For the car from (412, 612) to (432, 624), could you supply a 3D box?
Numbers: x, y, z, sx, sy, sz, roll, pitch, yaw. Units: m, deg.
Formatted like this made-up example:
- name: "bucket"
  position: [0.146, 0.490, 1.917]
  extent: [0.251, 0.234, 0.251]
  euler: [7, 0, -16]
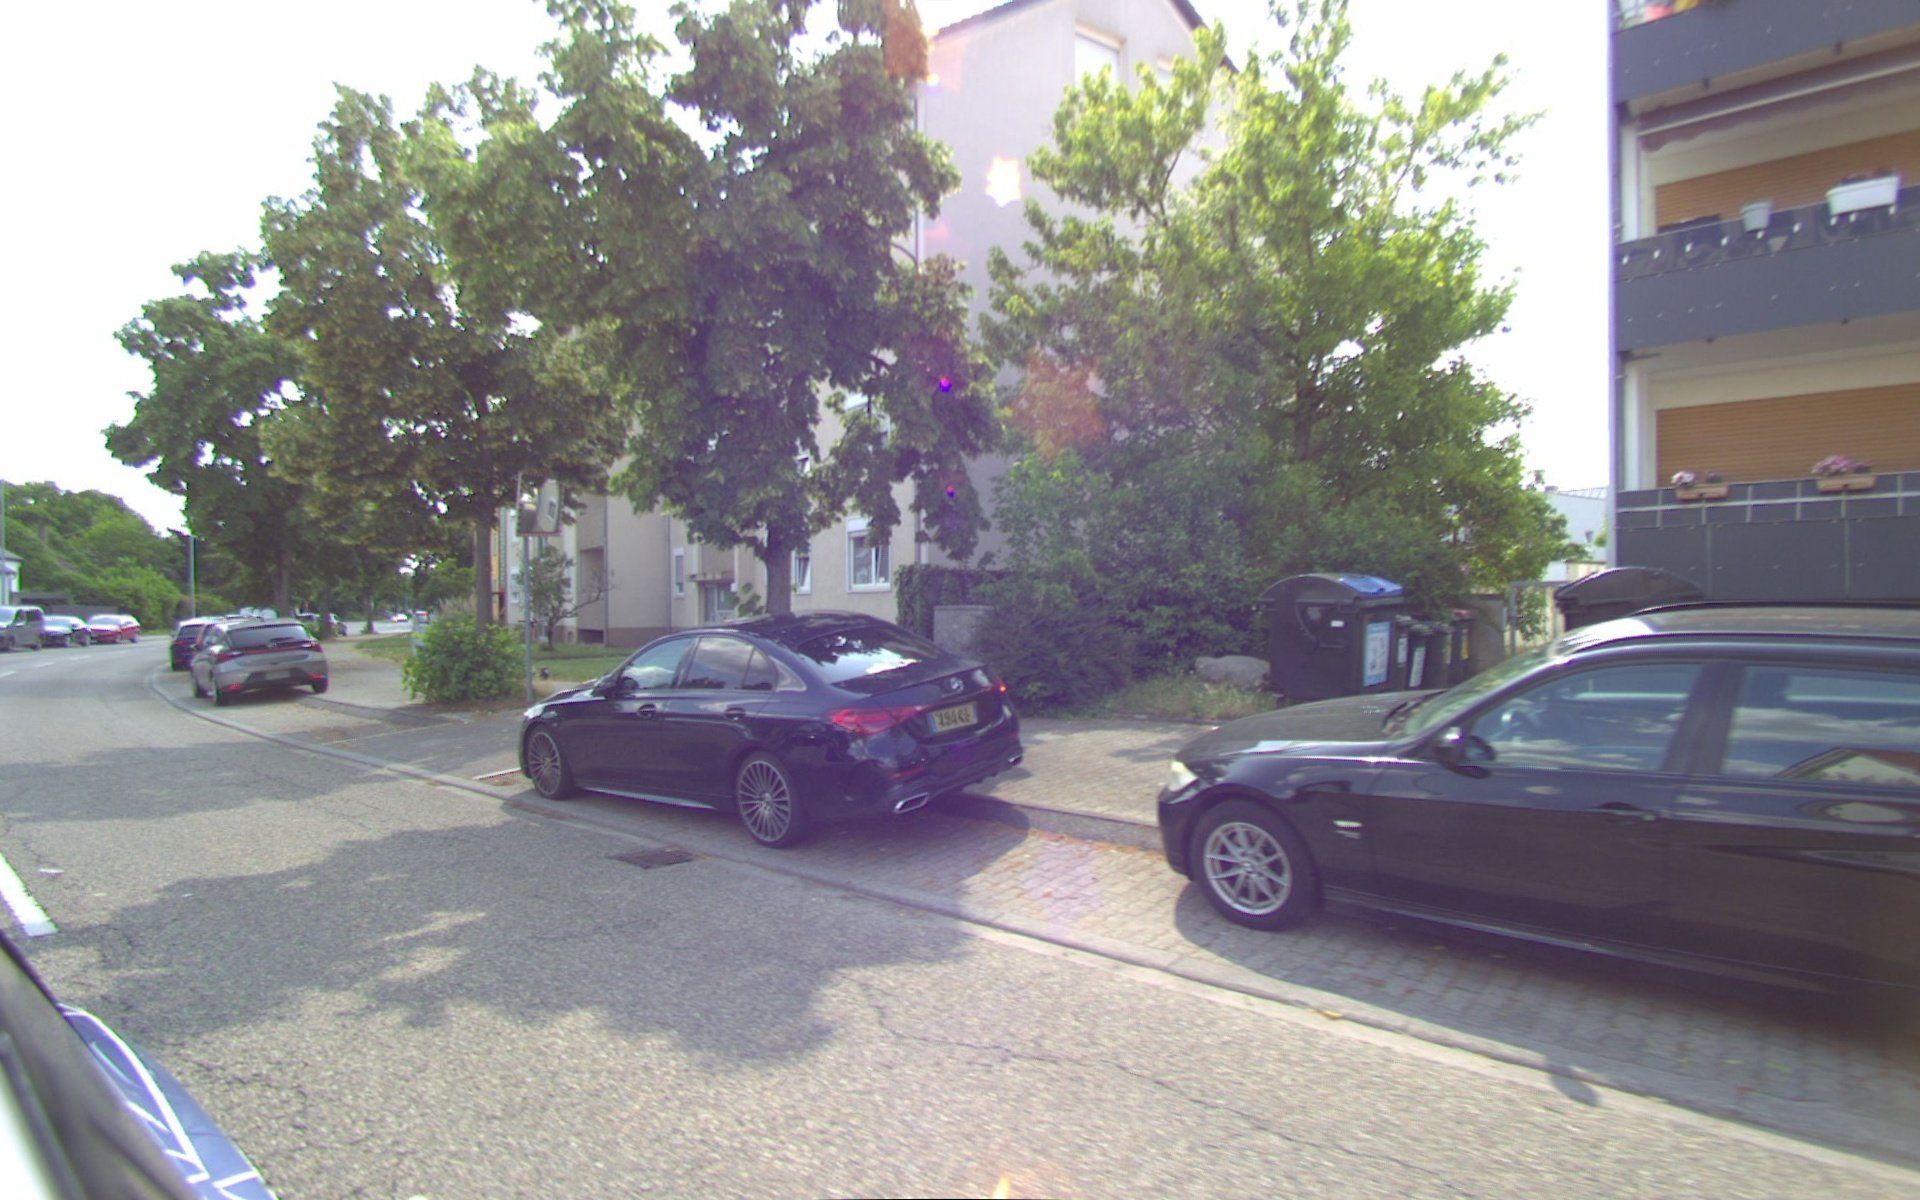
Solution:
- name: "car"
  position: [-65.225, 2.193, 122.721]
  extent: [1.756, 1.453, 3.979]
  euler: [-1, -1, -22]

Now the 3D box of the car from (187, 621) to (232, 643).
- name: "car"
  position: [-51.930, 2.177, 70.109]
  extent: [1.756, 1.453, 3.979]
  euler: [-1, -1, -25]

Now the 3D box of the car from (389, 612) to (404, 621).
- name: "car"
  position: [-93.008, 2.695, 167.000]
  extent: [1.756, 1.453, 3.979]
  euler: [-1, -1, -24]

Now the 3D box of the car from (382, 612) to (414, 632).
- name: "car"
  position: [-43.750, 1.697, 78.868]
  extent: [1.756, 1.453, 3.979]
  euler: [-1, -1, -22]

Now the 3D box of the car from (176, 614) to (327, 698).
- name: "car"
  position: [-13.612, 0.994, 19.356]
  extent: [1.734, 1.429, 4.002]
  euler: [0, -1, -45]

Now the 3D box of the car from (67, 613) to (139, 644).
- name: "car"
  position: [-45.211, 1.502, 53.486]
  extent: [1.756, 1.497, 4.295]
  euler: [3, -2, -25]

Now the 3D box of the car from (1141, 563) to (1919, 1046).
- name: "car"
  position: [3.112, 0.619, 4.102]
  extent: [4.464, 1.447, 1.670]
  euler: [-1, 3, 43]

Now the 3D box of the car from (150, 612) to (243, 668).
- name: "car"
  position: [-23.727, 1.228, 31.422]
  extent: [1.735, 1.499, 3.684]
  euler: [-6, 3, -45]

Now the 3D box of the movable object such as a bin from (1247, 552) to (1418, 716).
- name: "movable object such as a bin"
  position: [3.761, 0.314, 10.175]
  extent: [1.302, 1.497, 1.285]
  euler: [-2, 0, 35]

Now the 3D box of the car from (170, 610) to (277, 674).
- name: "car"
  position: [-20.207, 1.125, 27.706]
  extent: [1.735, 1.499, 3.684]
  euler: [-6, 3, -45]

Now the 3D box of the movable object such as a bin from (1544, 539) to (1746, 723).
- name: "movable object such as a bin"
  position: [5.768, 0.242, 8.575]
  extent: [1.288, 1.396, 1.285]
  euler: [-2, 0, 35]

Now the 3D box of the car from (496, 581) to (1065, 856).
- name: "car"
  position: [-1.613, 0.703, 7.857]
  extent: [4.627, 1.488, 1.714]
  euler: [-1, 2, 39]

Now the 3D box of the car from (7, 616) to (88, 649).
- name: "car"
  position: [-42.825, 1.506, 47.596]
  extent: [1.814, 1.429, 3.901]
  euler: [-1, -1, -26]

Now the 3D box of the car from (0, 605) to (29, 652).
- name: "car"
  position: [-39.999, 1.140, 41.622]
  extent: [1.811, 1.880, 4.292]
  euler: [3, -3, -34]

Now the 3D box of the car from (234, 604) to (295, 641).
- name: "car"
  position: [-34.501, 1.101, 50.281]
  extent: [1.792, 1.737, 3.694]
  euler: [-1, -1, -23]
